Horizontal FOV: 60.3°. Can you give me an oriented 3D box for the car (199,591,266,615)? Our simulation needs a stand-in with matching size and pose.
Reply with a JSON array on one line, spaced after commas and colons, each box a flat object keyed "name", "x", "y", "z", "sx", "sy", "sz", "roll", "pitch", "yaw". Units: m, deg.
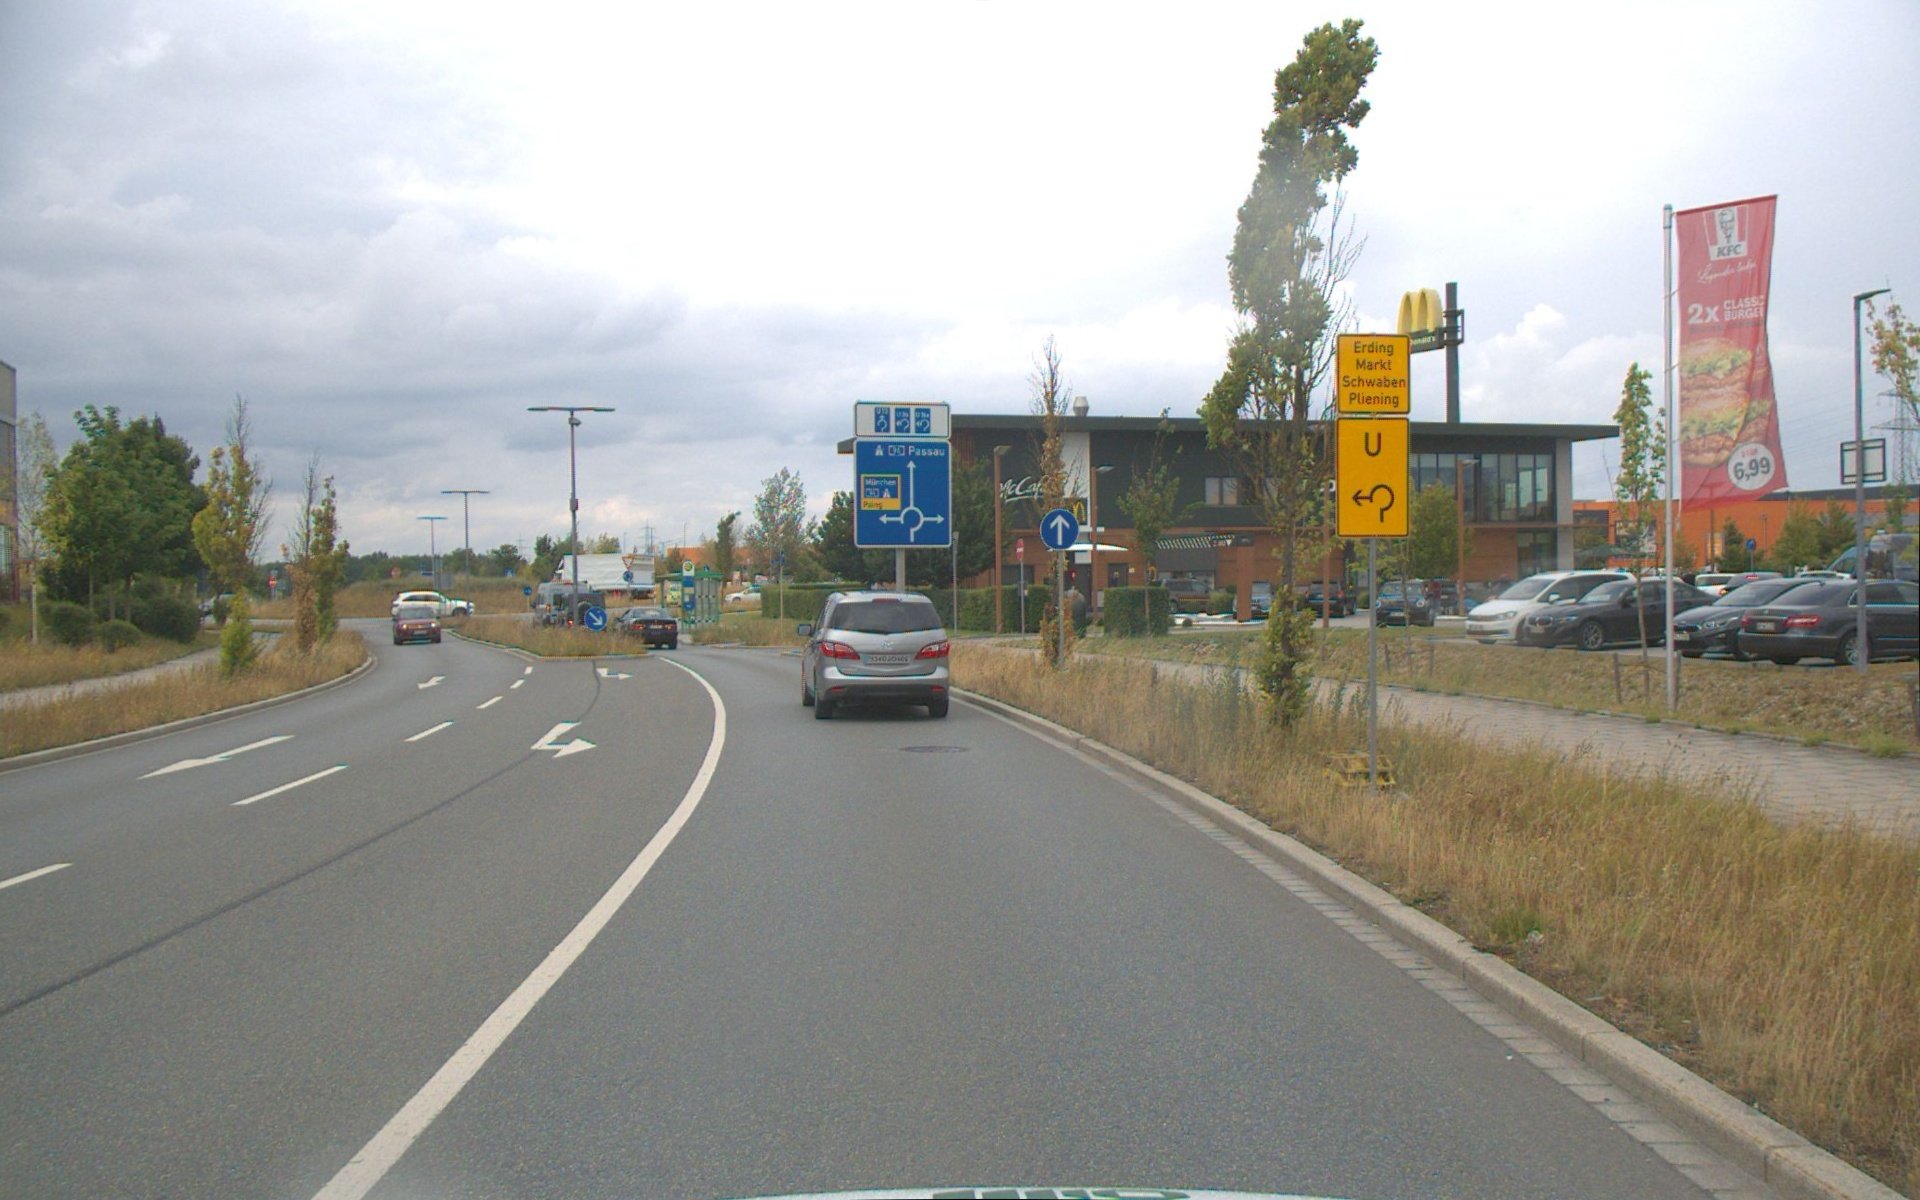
[{"name": "car", "x": -50.173, "y": 0.204, "z": 114.090, "sx": 3.958, "sy": 1.431, "sz": 1.823, "roll": -4, "pitch": 1, "yaw": -37}]

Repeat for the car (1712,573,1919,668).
[{"name": "car", "x": 15.752, "y": 0.318, "z": 28.916, "sx": 4.440, "sy": 1.494, "sz": 2.025, "roll": -1, "pitch": 1, "yaw": -14}]

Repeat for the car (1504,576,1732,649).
[{"name": "car", "x": 14.602, "y": 0.252, "z": 36.742, "sx": 4.397, "sy": 1.461, "sz": 2.064, "roll": -1, "pitch": 1, "yaw": -17}]

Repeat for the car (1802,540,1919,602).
[{"name": "car", "x": 40.057, "y": -1.275, "z": 72.043, "sx": 5.914, "sy": 2.572, "sz": 2.278, "roll": -1, "pitch": 1, "yaw": 29}]

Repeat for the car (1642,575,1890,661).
[{"name": "car", "x": 15.509, "y": 0.318, "z": 31.882, "sx": 4.017, "sy": 1.463, "sz": 1.935, "roll": -2, "pitch": 1, "yaw": -16}]

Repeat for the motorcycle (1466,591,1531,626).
[{"name": "motorcycle", "x": 16.053, "y": 0.251, "z": 49.324, "sx": 0.730, "sy": 1.002, "sz": 1.805, "roll": -1, "pitch": 0, "yaw": -30}]

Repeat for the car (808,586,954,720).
[{"name": "car", "x": -1.139, "y": 0.643, "z": 22.163, "sx": 1.697, "sy": 1.628, "sz": 3.801, "roll": 0, "pitch": 0, "yaw": -7}]

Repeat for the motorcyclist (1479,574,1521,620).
[{"name": "motorcyclist", "x": 16.085, "y": -0.080, "z": 49.303, "sx": 0.771, "sy": 1.357, "sz": 0.887, "roll": -1, "pitch": 0, "yaw": -31}]

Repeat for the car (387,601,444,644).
[{"name": "car", "x": -23.571, "y": 0.970, "z": 71.500, "sx": 1.776, "sy": 1.698, "sz": 4.293, "roll": -4, "pitch": 1, "yaw": -25}]

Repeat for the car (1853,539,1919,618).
[{"name": "car", "x": 32.606, "y": -0.781, "z": 57.048, "sx": 2.227, "sy": 2.545, "sz": 7.329, "roll": -1, "pitch": 1, "yaw": 21}]

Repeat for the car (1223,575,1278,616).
[{"name": "car", "x": 12.918, "y": -0.200, "z": 73.330, "sx": 1.951, "sy": 1.747, "sz": 4.003, "roll": 0, "pitch": 0, "yaw": 16}]

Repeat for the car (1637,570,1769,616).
[{"name": "car", "x": 29.466, "y": -0.271, "z": 65.764, "sx": 4.620, "sy": 1.685, "sz": 2.000, "roll": -1, "pitch": 0, "yaw": 20}]

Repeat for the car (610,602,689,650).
[{"name": "car", "x": -10.240, "y": 0.824, "z": 54.399, "sx": 1.819, "sy": 1.443, "sz": 4.198, "roll": -1, "pitch": 1, "yaw": -21}]

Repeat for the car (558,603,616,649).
[{"name": "car", "x": -16.166, "y": 1.087, "z": 71.484, "sx": 2.026, "sy": 1.858, "sz": 4.761, "roll": -1, "pitch": 0, "yaw": -18}]

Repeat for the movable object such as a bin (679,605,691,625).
[{"name": "movable object such as a bin", "x": -11.535, "y": 0.640, "z": 69.361, "sx": 0.449, "sy": 0.812, "sz": 0.377, "roll": -1, "pitch": 0, "yaw": -22}]

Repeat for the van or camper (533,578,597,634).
[{"name": "van or camper", "x": -18.814, "y": 0.247, "z": 78.534, "sx": 2.270, "sy": 2.550, "sz": 5.172, "roll": 0, "pitch": 0, "yaw": -21}]

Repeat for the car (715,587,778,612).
[{"name": "car", "x": -15.929, "y": -0.043, "z": 123.412, "sx": 4.519, "sy": 1.788, "sz": 1.995, "roll": -1, "pitch": 0, "yaw": -11}]

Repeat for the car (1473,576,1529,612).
[{"name": "car", "x": 25.432, "y": -0.279, "z": 77.871, "sx": 1.951, "sy": 1.609, "sz": 4.004, "roll": 0, "pitch": 0, "yaw": 10}]

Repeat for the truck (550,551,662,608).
[{"name": "truck", "x": -26.412, "y": -1.480, "z": 123.104, "sx": 9.158, "sy": 3.975, "sz": 3.128, "roll": -1, "pitch": 0, "yaw": 39}]

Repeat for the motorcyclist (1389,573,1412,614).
[{"name": "motorcyclist", "x": 20.015, "y": -0.284, "z": 75.162, "sx": 0.941, "sy": 1.864, "sz": 0.846, "roll": 0, "pitch": 0, "yaw": 17}]

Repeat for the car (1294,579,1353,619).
[{"name": "car", "x": 16.533, "y": -0.048, "z": 75.070, "sx": 2.072, "sy": 1.747, "sz": 4.231, "roll": 0, "pitch": 0, "yaw": 20}]

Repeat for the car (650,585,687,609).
[{"name": "car", "x": -20.032, "y": -0.193, "z": 113.577, "sx": 1.963, "sy": 1.542, "sz": 3.978, "roll": -1, "pitch": 0, "yaw": -19}]

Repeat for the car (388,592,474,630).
[{"name": "car", "x": -30.459, "y": 0.631, "z": 95.354, "sx": 4.532, "sy": 2.049, "sz": 1.992, "roll": -1, "pitch": 0, "yaw": -15}]

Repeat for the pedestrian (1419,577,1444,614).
[{"name": "pedestrian", "x": 18.889, "y": -0.175, "z": 66.256, "sx": 0.756, "sy": 1.464, "sz": 0.621, "roll": -1, "pitch": 0, "yaw": 39}]

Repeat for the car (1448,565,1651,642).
[{"name": "car", "x": 13.944, "y": 0.059, "z": 39.168, "sx": 4.282, "sy": 1.668, "sz": 1.927, "roll": -1, "pitch": 1, "yaw": -20}]

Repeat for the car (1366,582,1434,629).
[{"name": "car", "x": 13.453, "y": 0.139, "z": 50.427, "sx": 1.773, "sy": 1.336, "sz": 3.851, "roll": -1, "pitch": 1, "yaw": 18}]
